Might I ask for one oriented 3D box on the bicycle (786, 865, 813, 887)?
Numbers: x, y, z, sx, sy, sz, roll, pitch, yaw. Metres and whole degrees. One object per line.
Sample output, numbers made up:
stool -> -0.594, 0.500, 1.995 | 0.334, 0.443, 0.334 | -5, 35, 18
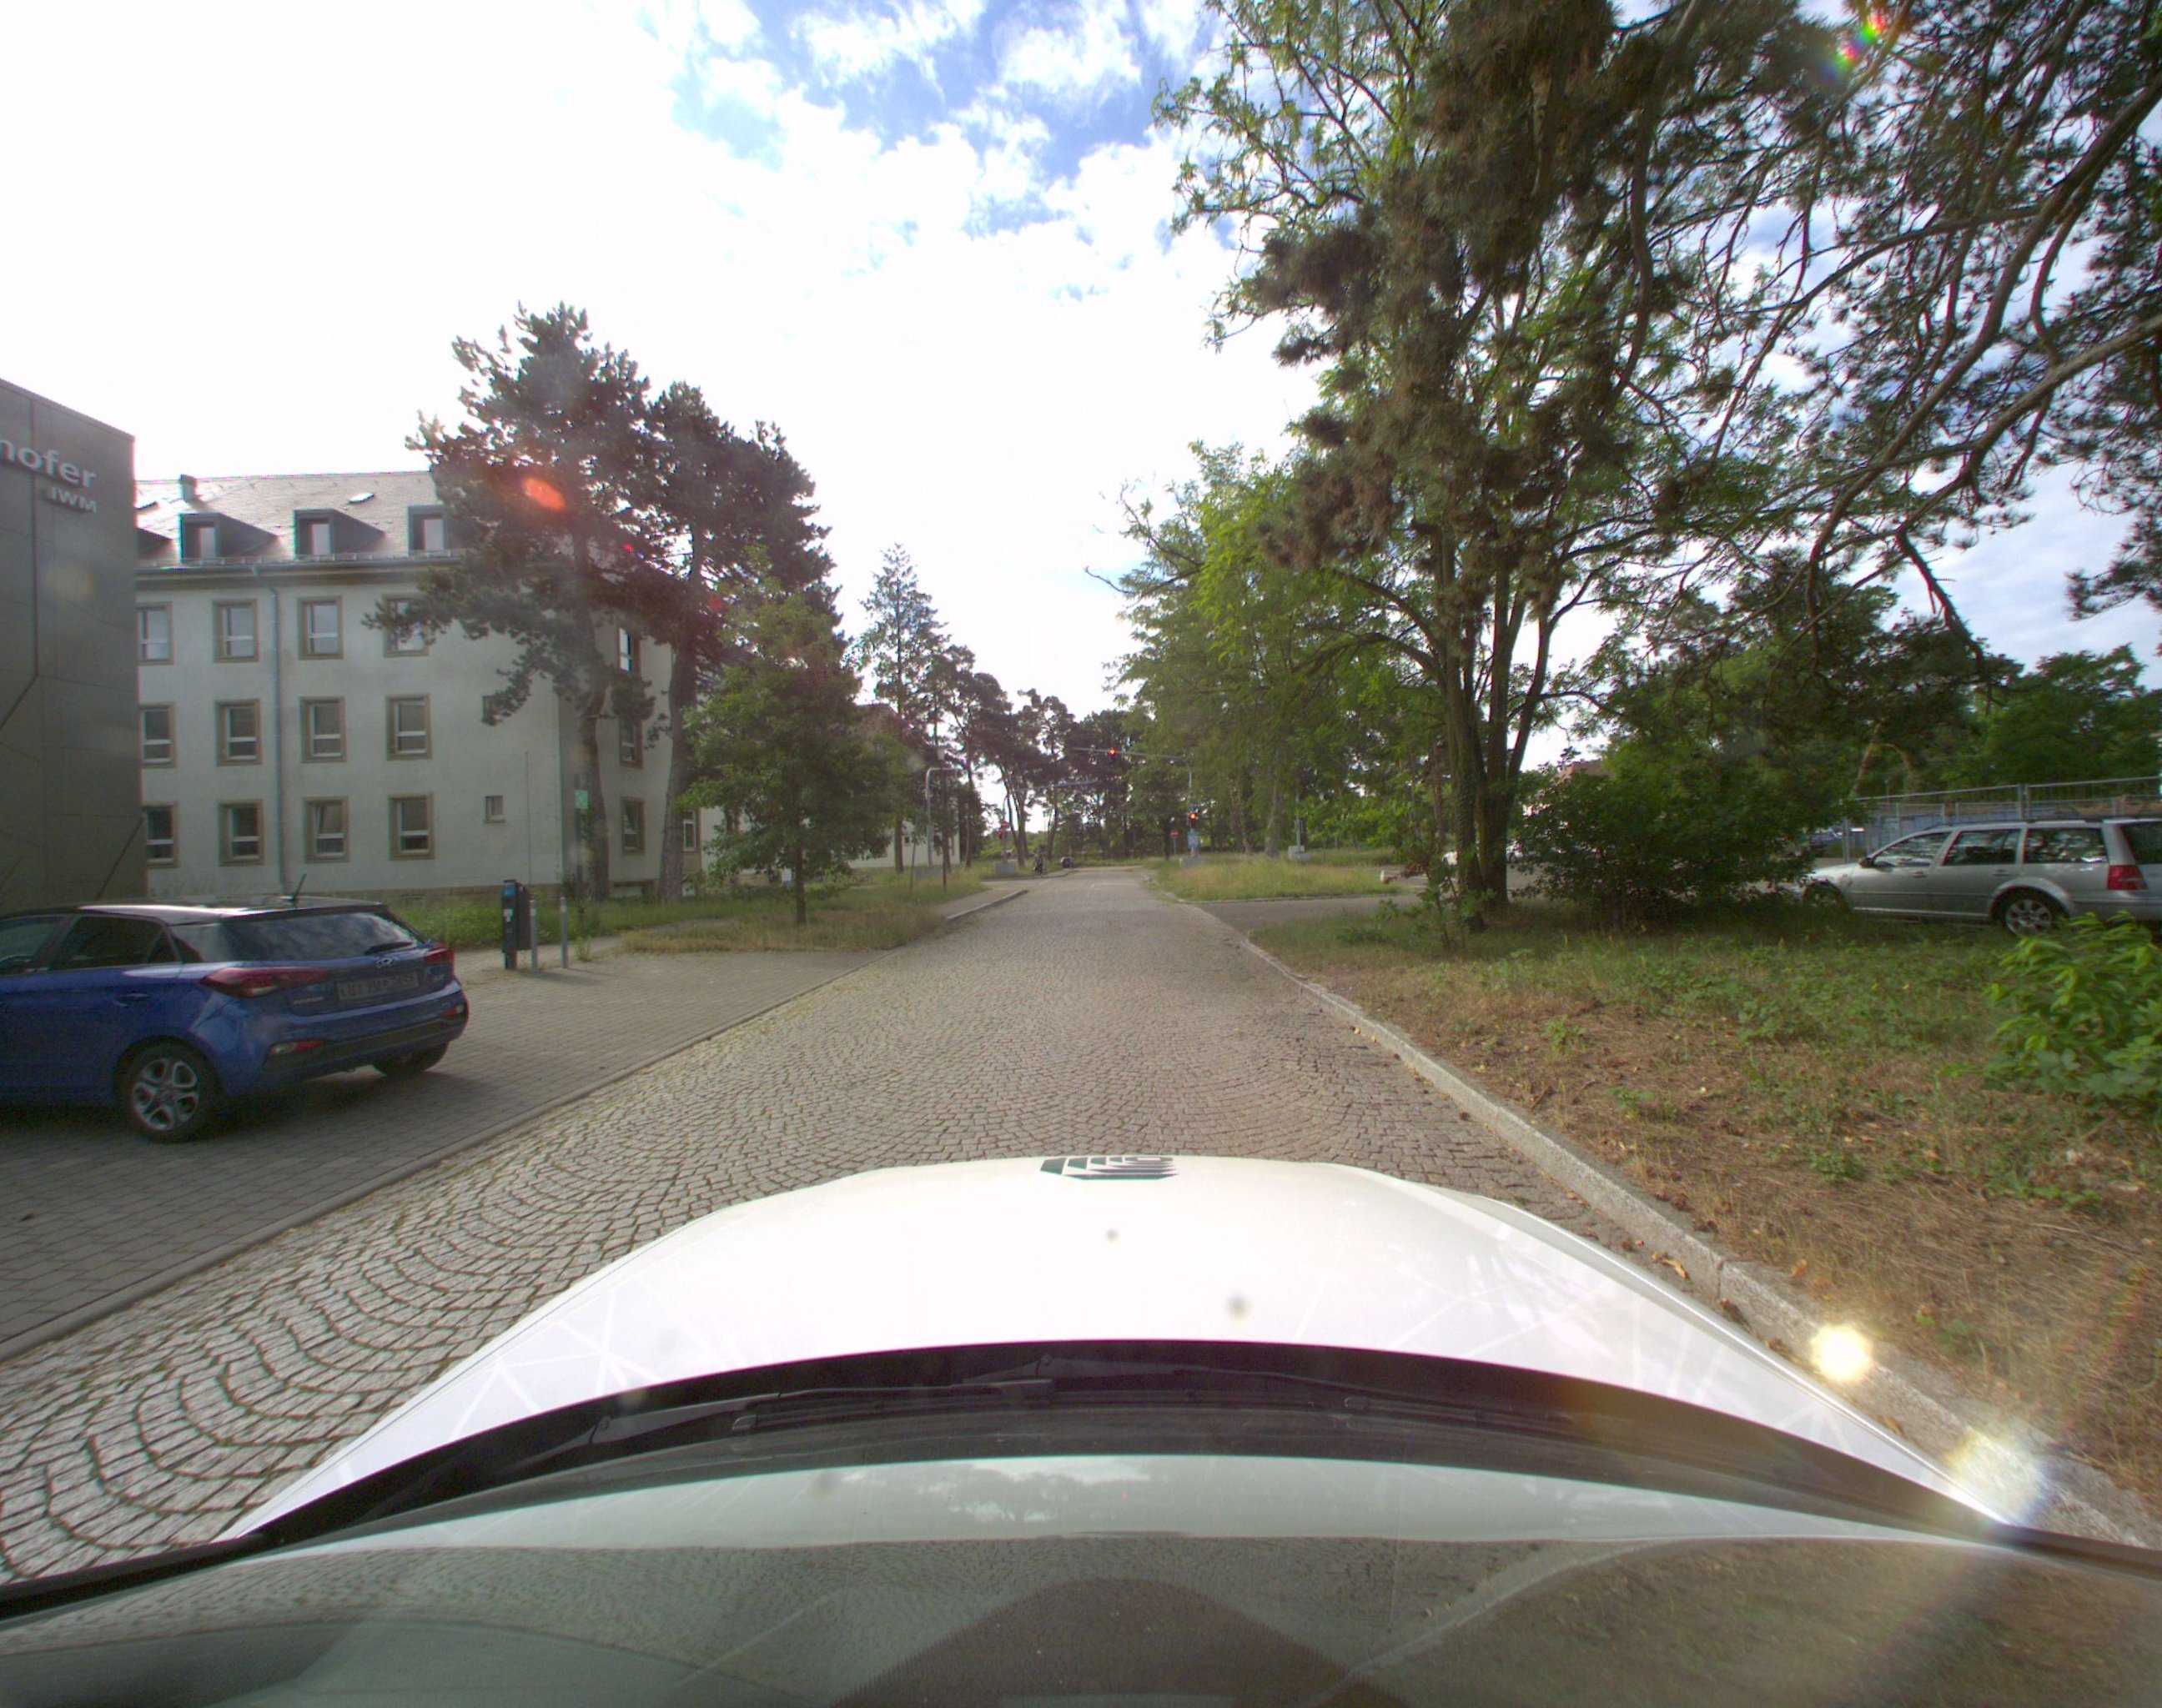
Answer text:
bicycle -> -19.484, 1.500, 56.458 | 0.733, 1.385, 2.713 | -2, 0, 2

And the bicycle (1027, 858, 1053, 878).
bicycle -> -2.956, 1.009, 58.765 | 0.927, 1.387, 2.198 | -2, 0, 24

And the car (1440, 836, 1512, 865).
car -> 23.085, -0.156, 47.783 | 1.988, 1.481, 4.422 | -2, -2, -2

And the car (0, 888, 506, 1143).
car -> -6.762, 1.043, 6.017 | 3.748, 1.478, 1.854 | -1, 0, 4

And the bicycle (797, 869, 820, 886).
bicycle -> -18.750, 1.620, 56.084 | 0.733, 1.076, 2.274 | -2, 0, 2

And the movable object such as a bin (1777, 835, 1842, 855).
movable object such as a bin -> 31.482, -0.384, 35.225 | 1.179, 0.825, 1.957 | -2, 0, 6

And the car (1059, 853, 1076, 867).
car -> -1.810, 0.833, 111.934 | 2.048, 1.846, 4.001 | -2, 0, 1

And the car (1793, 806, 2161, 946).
car -> 11.621, 0.237, 10.354 | 1.640, 1.427, 4.073 | 1, 0, 1

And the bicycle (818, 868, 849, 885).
bicycle -> -16.668, 1.527, 54.865 | 1.848, 1.076, 0.739 | -2, 0, 3

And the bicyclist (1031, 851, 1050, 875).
bicyclist -> -2.934, 0.640, 58.863 | 0.945, 1.697, 0.928 | -3, -1, 24

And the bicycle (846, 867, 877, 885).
bicycle -> -14.785, 1.470, 54.860 | 1.848, 1.076, 0.832 | -2, 0, 3

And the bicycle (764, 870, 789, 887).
bicycle -> -20.937, 1.655, 56.107 | 0.733, 1.076, 2.274 | -2, 0, 2

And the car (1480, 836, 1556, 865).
car -> 25.600, -0.184, 47.904 | 1.988, 1.481, 4.422 | -2, -2, -2
